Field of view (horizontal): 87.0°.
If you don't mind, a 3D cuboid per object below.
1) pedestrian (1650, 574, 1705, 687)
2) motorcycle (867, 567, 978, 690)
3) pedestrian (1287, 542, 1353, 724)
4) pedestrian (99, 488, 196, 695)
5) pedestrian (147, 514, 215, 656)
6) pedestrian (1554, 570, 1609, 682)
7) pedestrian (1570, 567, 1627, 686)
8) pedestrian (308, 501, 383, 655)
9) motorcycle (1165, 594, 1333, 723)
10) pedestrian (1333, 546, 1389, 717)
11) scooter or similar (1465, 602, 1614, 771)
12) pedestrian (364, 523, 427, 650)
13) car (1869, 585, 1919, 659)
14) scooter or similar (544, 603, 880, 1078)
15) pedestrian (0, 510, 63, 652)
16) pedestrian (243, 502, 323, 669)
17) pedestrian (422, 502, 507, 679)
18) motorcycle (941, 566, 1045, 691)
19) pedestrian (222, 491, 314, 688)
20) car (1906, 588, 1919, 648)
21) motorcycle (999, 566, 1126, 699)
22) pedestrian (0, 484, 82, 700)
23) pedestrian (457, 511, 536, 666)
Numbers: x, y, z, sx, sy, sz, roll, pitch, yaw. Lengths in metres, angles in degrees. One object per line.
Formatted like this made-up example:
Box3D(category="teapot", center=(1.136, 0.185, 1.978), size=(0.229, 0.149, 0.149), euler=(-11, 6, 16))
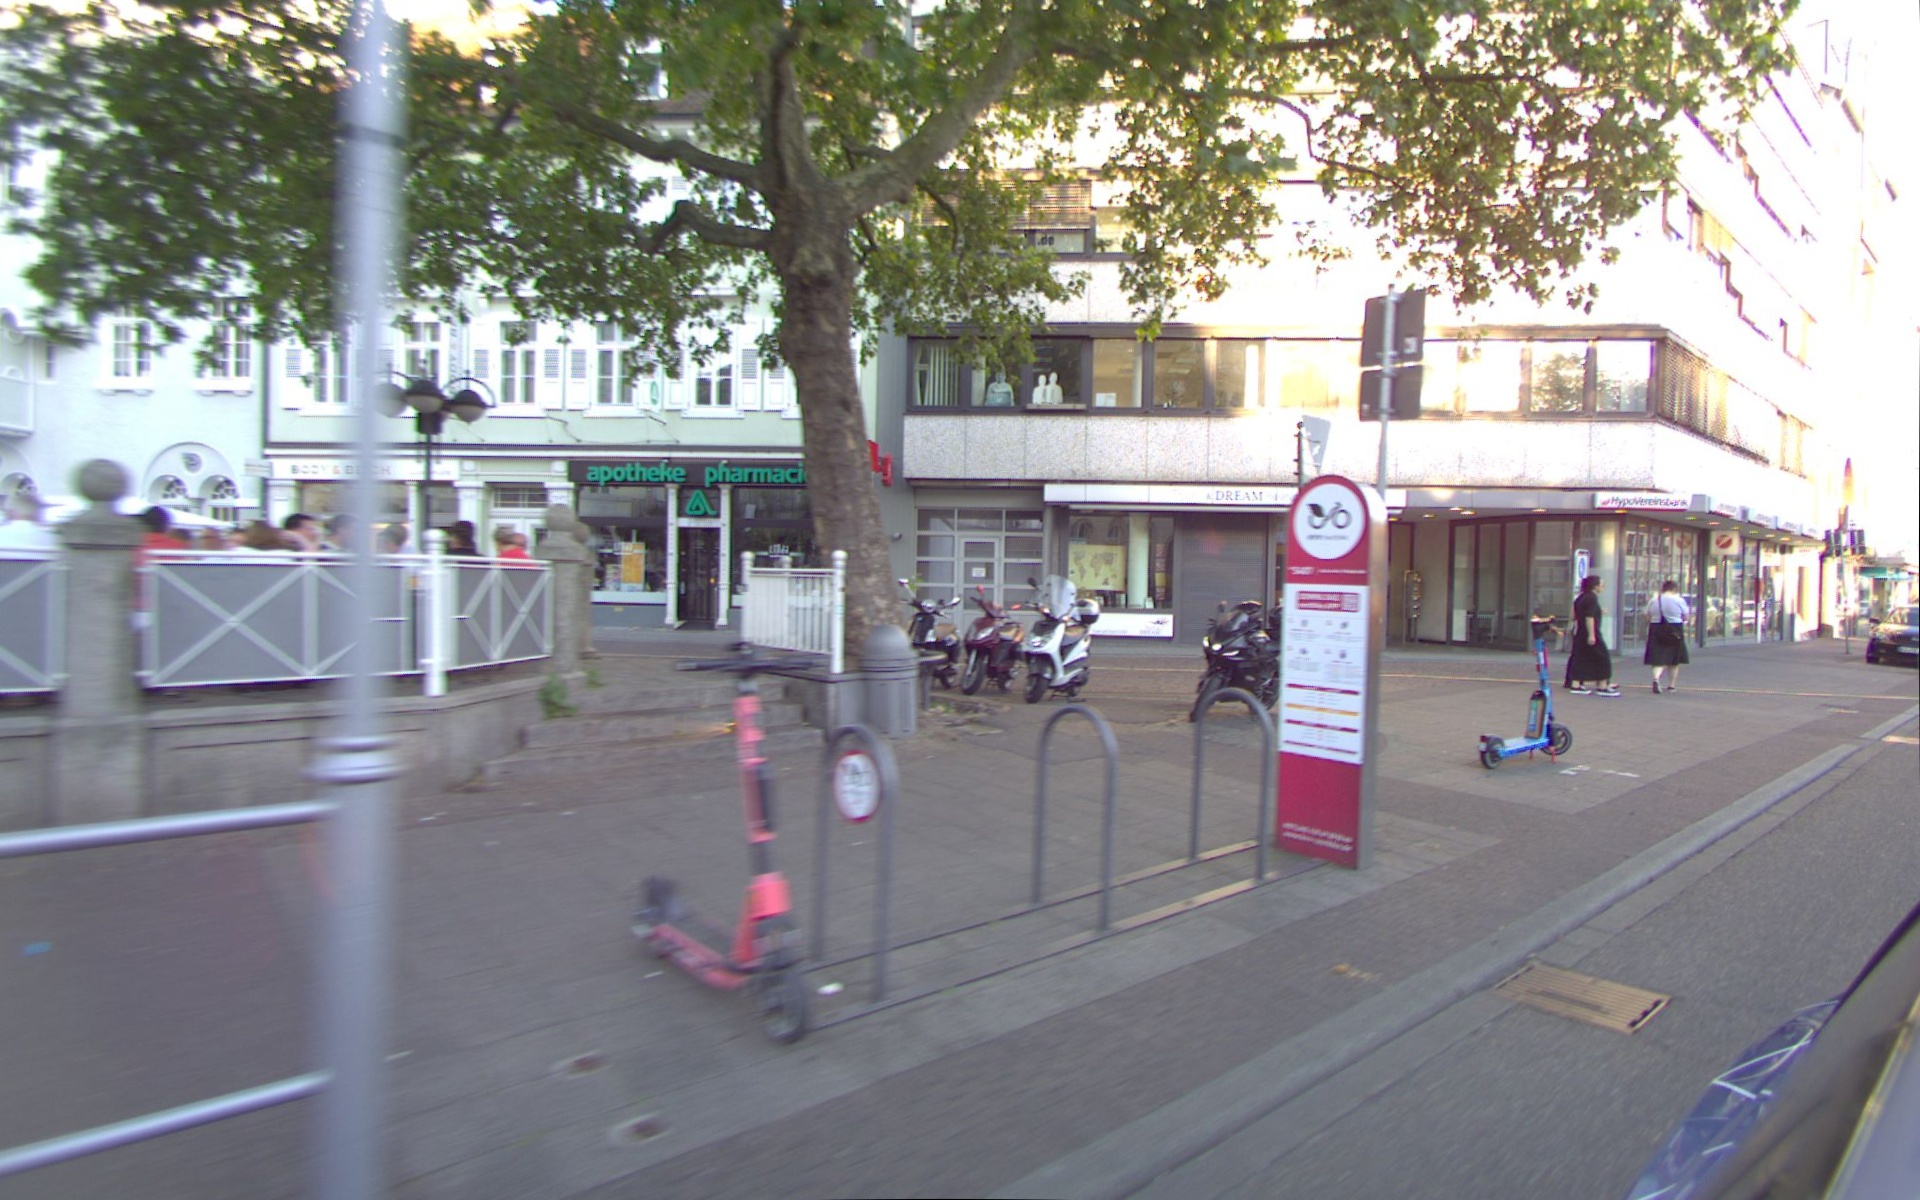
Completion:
Box3D(category="pedestrian", center=(10.708, 0.437, 15.111), size=(0.635, 1.645, 0.512), euler=(1, 1, 39))
Box3D(category="motorcycle", center=(-0.437, 0.357, 12.986), size=(0.697, 1.423, 1.955), euler=(3, -1, 19))
Box3D(category="pedestrian", center=(3.588, 0.313, 10.088), size=(0.403, 1.758, 0.430), euler=(1, 2, -45))
Box3D(category="pedestrian", center=(-5.455, -0.061, 6.795), size=(0.482, 1.313, 0.531), euler=(1, 0, -41))
Box3D(category="pedestrian", center=(-7.478, -0.142, 9.710), size=(0.482, 1.313, 0.531), euler=(1, 0, -41))
Box3D(category="pedestrian", center=(9.375, 0.373, 15.268), size=(0.635, 1.645, 0.512), euler=(1, 1, 39))
Box3D(category="pedestrian", center=(9.113, 0.355, 14.445), size=(0.635, 1.645, 0.512), euler=(1, 1, 39))
Box3D(category="pedestrian", center=(-5.448, -0.190, 8.967), size=(0.482, 1.313, 0.531), euler=(1, 0, -41))
Box3D(category="motorcycle", center=(3.032, 0.554, 10.527), size=(1.933, 1.200, 0.705), euler=(0, 2, -41))
Box3D(category="pedestrian", center=(4.252, 0.320, 10.724), size=(0.428, 1.758, 0.405), euler=(3, 1, 31))
Box3D(category="scooter or similar", center=(4.862, 0.661, 8.451), size=(1.627, 1.247, 0.534), euler=(-1, 3, -41))
Box3D(category="pedestrian", center=(-6.013, -0.145, 10.770), size=(0.482, 1.313, 0.531), euler=(1, 0, -41))
Box3D(category="car", center=(22.709, 0.492, 23.549), size=(3.930, 1.593, 1.770), euler=(-1, 4, -41))
Box3D(category="scooter or similar", center=(-0.910, 0.675, 3.487), size=(0.526, 1.247, 1.343), euler=(0, 3, -43))
Box3D(category="pedestrian", center=(-8.907, -0.180, 9.664), size=(0.482, 1.313, 0.531), euler=(1, 0, -41))
Box3D(category="pedestrian", center=(-5.551, -0.118, 8.294), size=(0.482, 1.313, 0.531), euler=(1, 0, -41))
Box3D(category="pedestrian", center=(-3.966, -0.079, 8.103), size=(0.482, 1.350, 0.531), euler=(1, 0, -41))
Box3D(category="motorcycle", center=(0.461, 0.353, 12.835), size=(0.697, 1.423, 1.955), euler=(3, -1, 19))
Box3D(category="pedestrian", center=(-5.001, -0.079, 7.309), size=(0.482, 1.350, 0.531), euler=(1, 0, -41))
Box3D(category="car", center=(27.642, 0.500, 27.941), size=(3.930, 1.593, 1.770), euler=(-1, 4, -41))
Box3D(category="motorcycle", center=(1.253, 0.378, 11.952), size=(0.700, 1.423, 1.946), euler=(3, -1, 30))
Box3D(category="pedestrian", center=(-5.918, -0.055, 6.434), size=(0.482, 1.313, 0.531), euler=(1, 0, -41))
Box3D(category="pedestrian", center=(-4.188, -0.105, 9.137), size=(0.523, 1.350, 0.490), euler=(1, 0, -41))
